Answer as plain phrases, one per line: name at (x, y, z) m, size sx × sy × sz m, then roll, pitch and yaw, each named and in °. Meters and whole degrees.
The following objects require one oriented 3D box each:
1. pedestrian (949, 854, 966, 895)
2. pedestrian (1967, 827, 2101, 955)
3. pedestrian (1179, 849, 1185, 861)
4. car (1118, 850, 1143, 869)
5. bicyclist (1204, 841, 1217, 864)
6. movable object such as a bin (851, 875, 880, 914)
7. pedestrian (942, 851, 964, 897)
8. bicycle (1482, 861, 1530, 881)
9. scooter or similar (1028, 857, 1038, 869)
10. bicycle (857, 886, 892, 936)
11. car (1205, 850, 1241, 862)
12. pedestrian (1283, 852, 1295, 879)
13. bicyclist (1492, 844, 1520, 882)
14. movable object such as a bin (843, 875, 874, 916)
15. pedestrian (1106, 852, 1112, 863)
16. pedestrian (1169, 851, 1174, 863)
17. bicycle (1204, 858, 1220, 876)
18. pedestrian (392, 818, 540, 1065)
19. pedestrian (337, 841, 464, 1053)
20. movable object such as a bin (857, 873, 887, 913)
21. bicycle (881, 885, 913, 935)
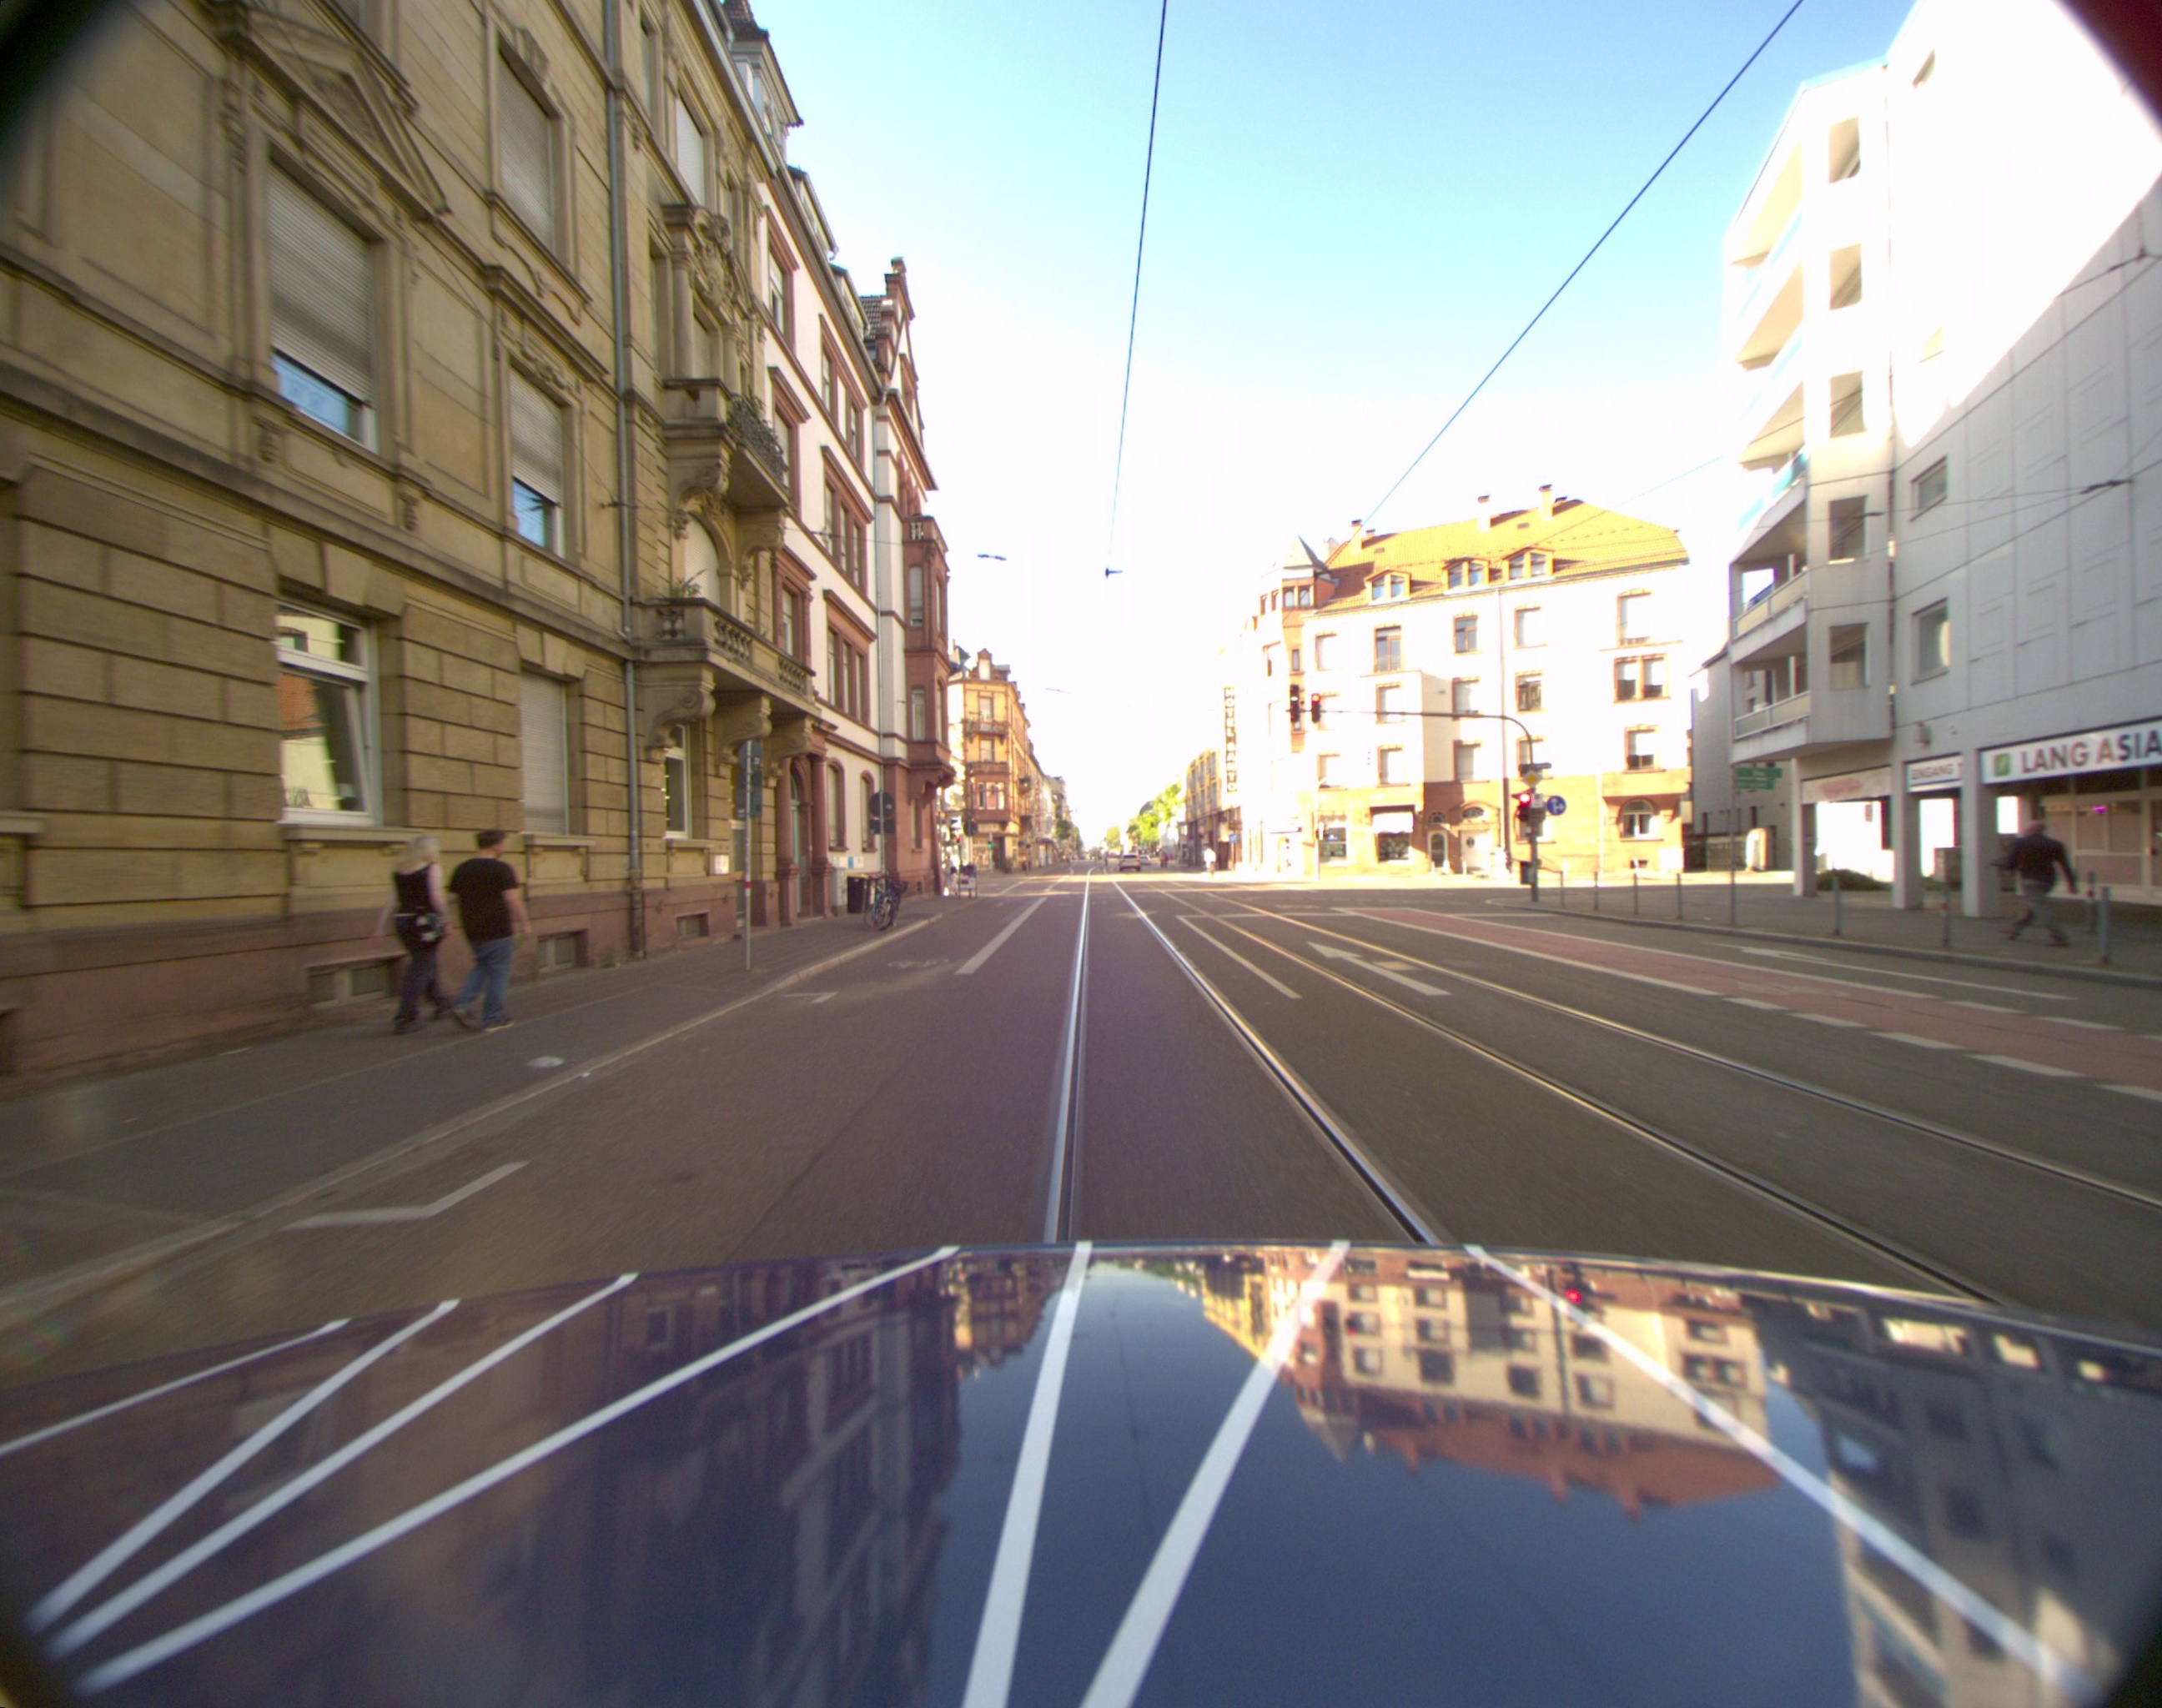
pedestrian at (-5.182, 0.850, 31.847) m, size 0.628 × 1.691 × 0.682 m, roll -1°, pitch 1°, yaw -8°
pedestrian at (13.729, 0.522, 10.989) m, size 0.683 × 1.755 × 1.026 m, roll -1°, pitch 0°, yaw 11°
pedestrian at (14.855, 0.151, 111.995) m, size 0.715 × 1.754 × 0.779 m, roll -1°, pitch 1°, yaw -9°
car at (4.716, 0.496, 73.251) m, size 1.999 × 1.734 × 4.562 m, roll -1°, pitch 0°, yaw 0°
bicyclist at (8.405, -0.098, 49.312) m, size 0.684 × 1.475 × 0.778 m, roll -1°, pitch 1°, yaw 0°
movable object such as a bin at (-6.035, 1.124, 21.292) m, size 0.667 × 1.070 × 0.571 m, roll 0°, pitch 0°, yaw 0°
pedestrian at (-5.118, 0.793, 30.404) m, size 0.707 × 1.771 × 0.673 m, roll -2°, pitch -1°, yaw -1°
bicycle at (20.069, 0.781, 35.896) m, size 0.793 × 0.904 × 1.809 m, roll -2°, pitch 0°, yaw -38°
scooter or similar at (-4.772, 0.860, 75.700) m, size 0.899 × 1.142 × 0.547 m, roll 3°, pitch 1°, yaw -1°
bicycle at (-4.427, 1.198, 16.374) m, size 0.432 × 0.942 × 1.762 m, roll -1°, pitch 0°, yaw -6°
car at (18.189, 0.255, 97.344) m, size 4.244 × 1.540 × 1.784 m, roll -1°, pitch 2°, yaw 1°
pedestrian at (11.993, 0.640, 43.778) m, size 0.544 × 1.543 × 0.516 m, roll -2°, pitch 1°, yaw -1°
bicyclist at (20.080, 0.407, 35.876) m, size 0.617 × 1.753 × 0.971 m, roll -2°, pitch 1°, yaw -39°
movable object such as a bin at (-6.026, 1.108, 20.591) m, size 0.667 × 1.070 × 0.571 m, roll -1°, pitch 1°, yaw 0°
pedestrian at (3.983, 0.441, 108.947) m, size 0.781 × 1.551 × 0.650 m, roll -1°, pitch 1°, yaw 0°
pedestrian at (14.171, 0.444, 118.865) m, size 0.639 × 1.935 × 0.709 m, roll -1°, pitch 1°, yaw -1°
bicycle at (8.541, 0.813, 49.527) m, size 0.694 × 1.114 × 2.083 m, roll -1°, pitch 0°, yaw 0°
pedestrian at (-5.279, 0.711, 6.577) m, size 0.587 × 2.002 × 0.823 m, roll 0°, pitch 1°, yaw 0°
pedestrian at (-5.965, 0.785, 6.688) m, size 0.554 × 1.772 × 0.606 m, roll 1°, pitch 1°, yaw -1°
movable object such as a bin at (-6.030, 1.118, 21.944) m, size 0.667 × 1.147 × 0.594 m, roll 1°, pitch 0°, yaw 0°
bicycle at (-3.953, 1.175, 16.439) m, size 0.432 × 0.942 × 1.762 m, roll -1°, pitch 0°, yaw -6°
